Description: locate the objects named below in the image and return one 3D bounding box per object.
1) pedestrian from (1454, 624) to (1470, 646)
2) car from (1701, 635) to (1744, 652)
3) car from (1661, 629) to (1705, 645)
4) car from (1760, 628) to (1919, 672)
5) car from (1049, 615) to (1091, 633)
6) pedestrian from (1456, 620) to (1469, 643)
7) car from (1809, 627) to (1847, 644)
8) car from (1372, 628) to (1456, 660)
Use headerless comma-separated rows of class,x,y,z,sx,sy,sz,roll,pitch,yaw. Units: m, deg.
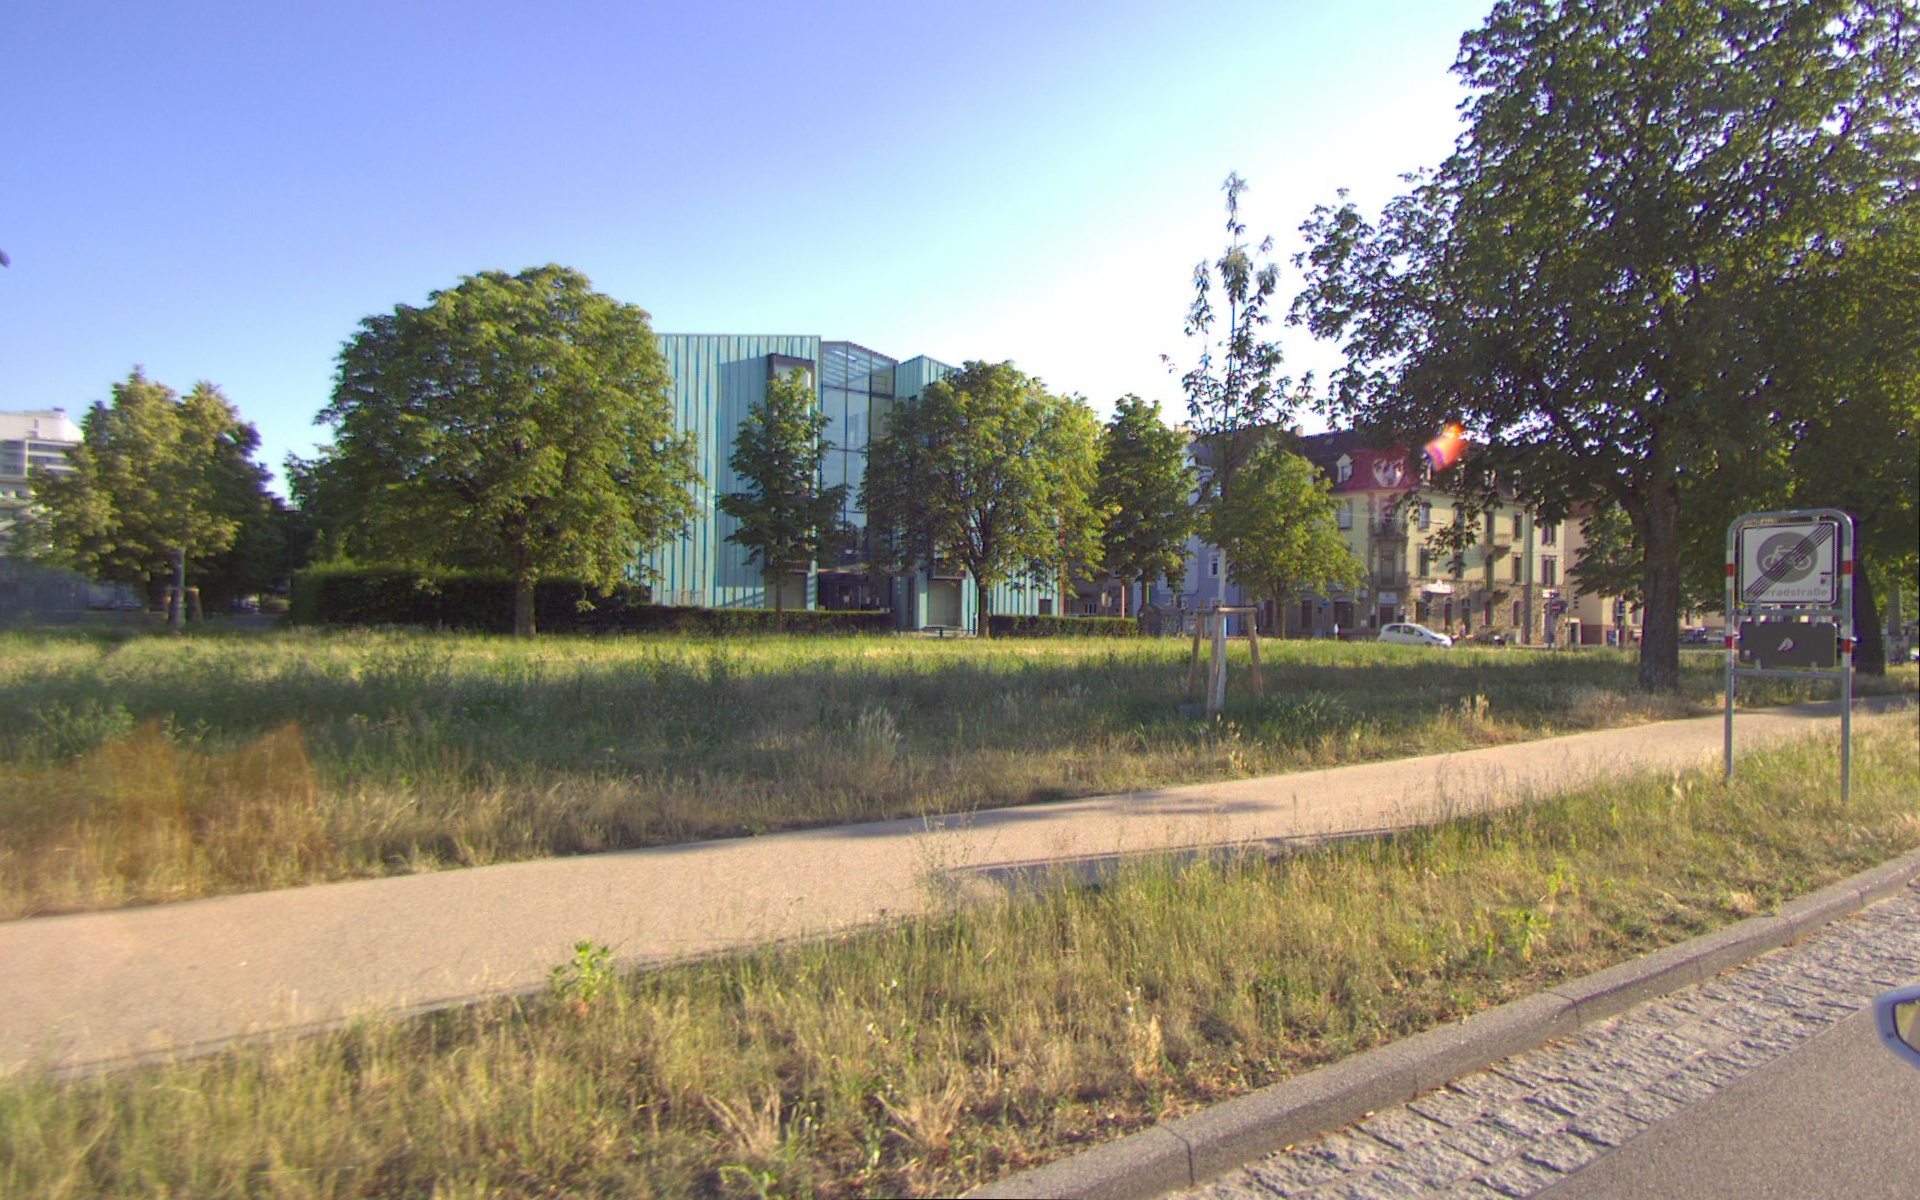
pedestrian,38.192,2.639,76.465,0.715,1.664,0.811,1,-1,-23
car,72.198,4.074,95.099,3.741,1.446,1.732,0,0,-26
car,66.456,3.361,92.297,3.741,1.416,1.732,1,0,-26
car,34.080,1.879,38.811,1.799,1.453,4.726,2,-1,-39
car,10.695,2.285,97.603,2.074,1.613,4.013,3,-2,-29
pedestrian,37.653,2.370,75.297,0.715,1.664,0.812,1,0,41
car,82.390,3.340,95.347,3.749,1.446,1.729,0,0,-32
car,23.682,2.249,52.477,1.729,1.508,3.652,1,0,-42
